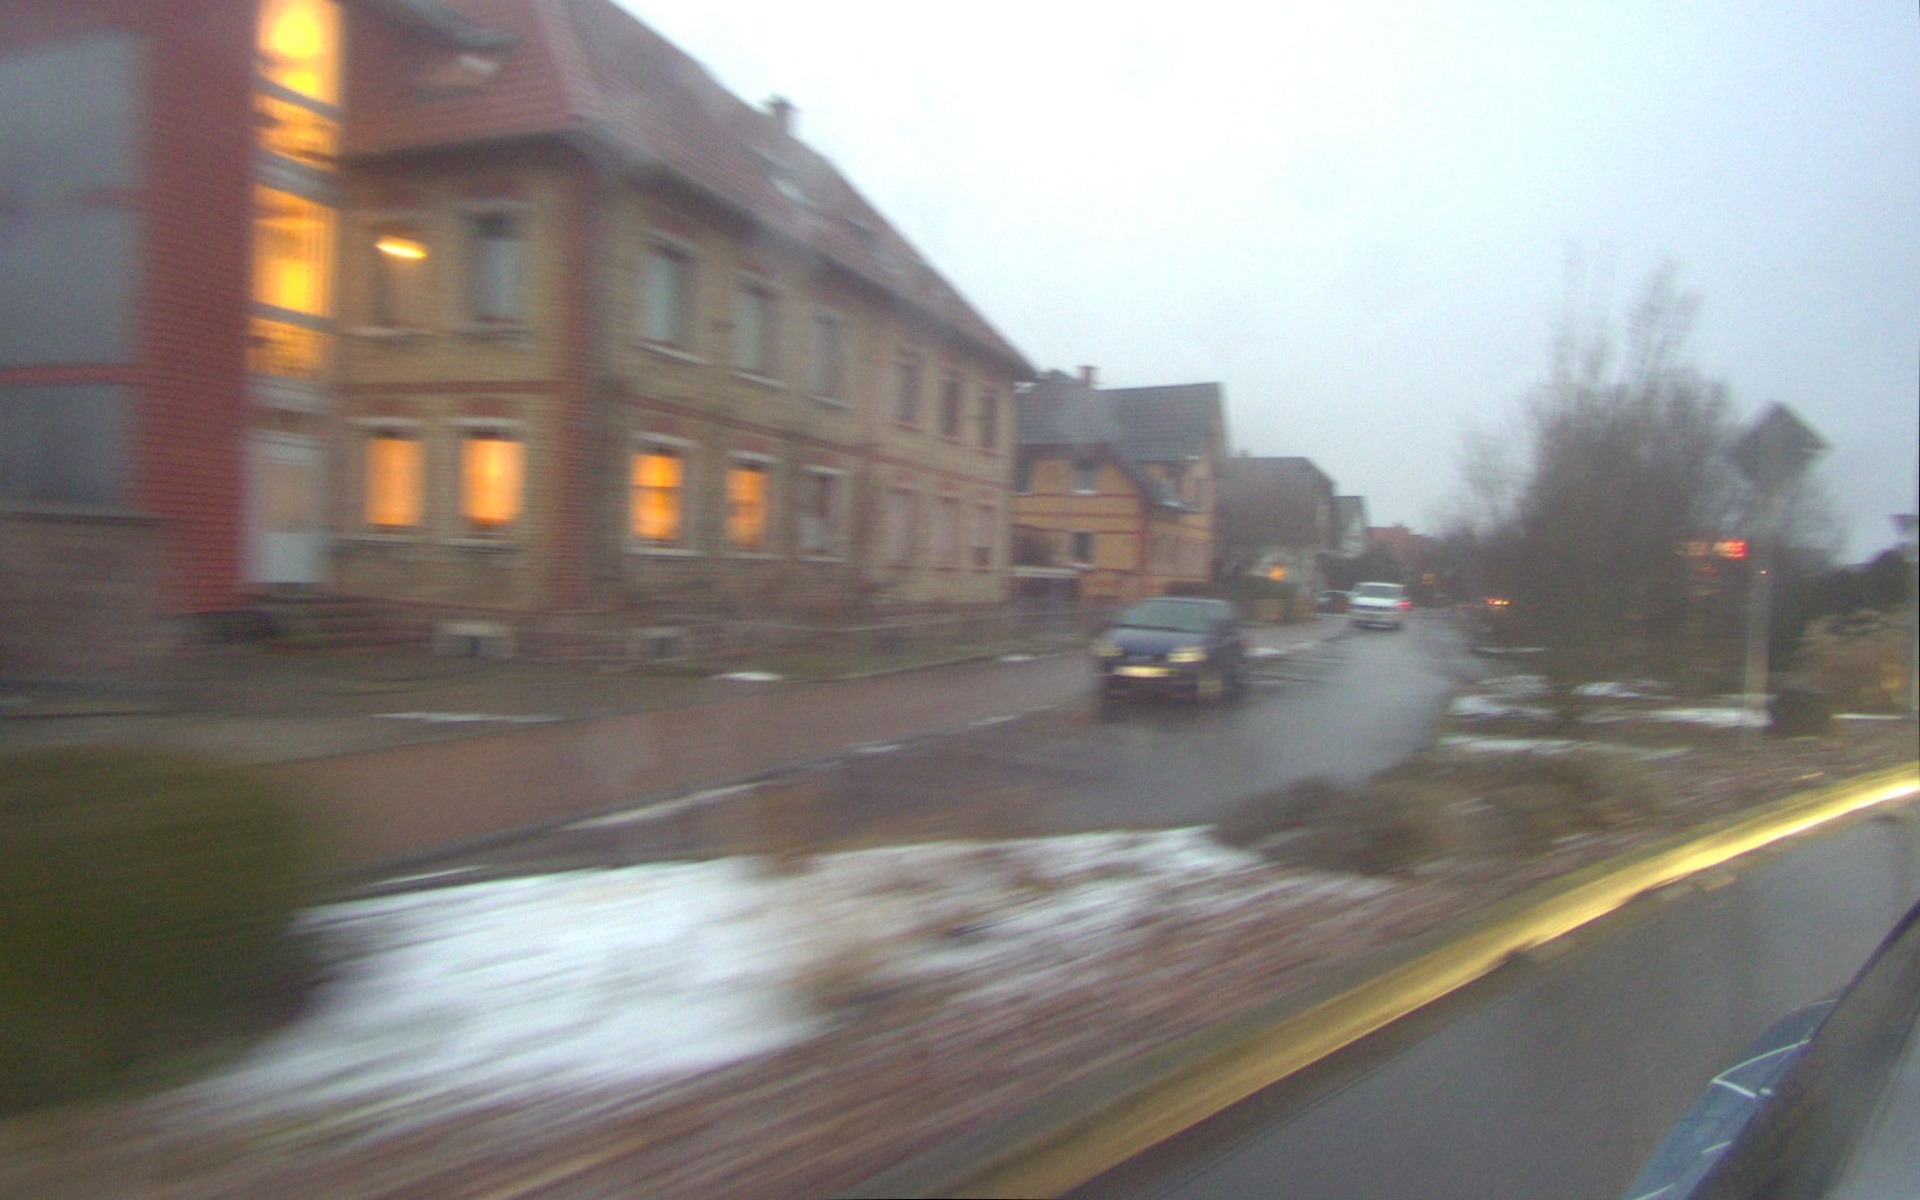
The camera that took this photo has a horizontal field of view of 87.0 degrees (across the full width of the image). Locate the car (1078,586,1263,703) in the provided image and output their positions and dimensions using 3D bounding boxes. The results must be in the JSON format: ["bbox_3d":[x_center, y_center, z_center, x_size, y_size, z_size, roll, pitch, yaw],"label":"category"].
[{"bbox_3d":[3.250,0.560,15.073,1.760,1.448,3.761,2,1,27],"label":"car"}]

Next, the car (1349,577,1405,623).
[{"bbox_3d":[18.178,-0.038,43.988,1.930,1.828,4.135,3,2,26],"label":"car"}]

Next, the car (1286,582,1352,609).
[{"bbox_3d":[23.322,-0.293,65.871,3.949,1.656,1.988,0,0,20],"label":"car"}]
